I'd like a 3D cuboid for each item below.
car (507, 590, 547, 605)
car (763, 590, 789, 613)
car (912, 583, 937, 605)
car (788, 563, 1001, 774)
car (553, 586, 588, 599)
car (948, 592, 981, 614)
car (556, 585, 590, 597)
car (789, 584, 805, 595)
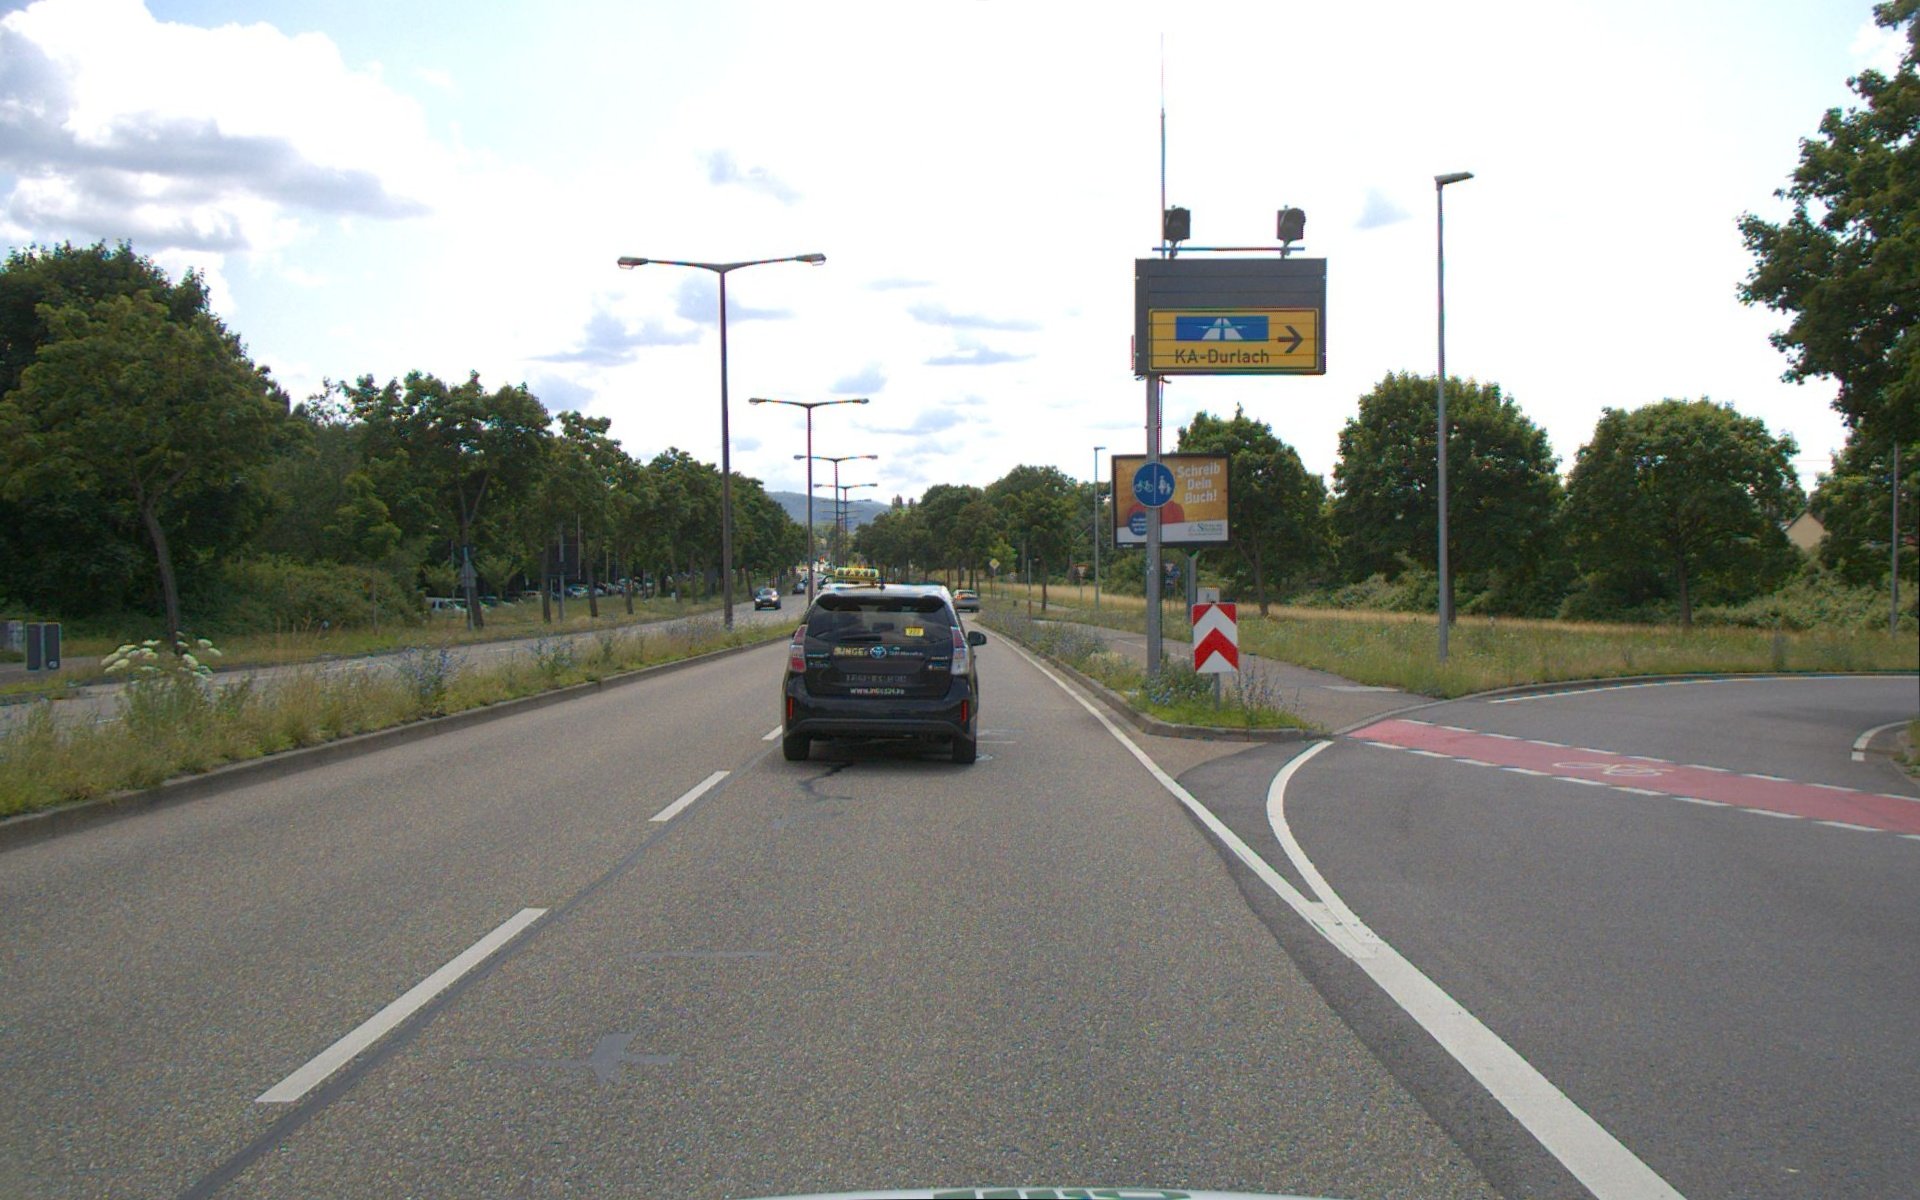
[{"bbox_3d":[-44.538,-0.255,170.330,3.710,1.453,1.784,1,1,-4],"label":"car"},{"bbox_3d":[-15.152,0.117,136.372,1.839,1.821,4.726,-2,0,-3],"label":"car"},{"bbox_3d":[-2.957,-0.481,136.899,1.954,1.691,3.998,1,1,-3],"label":"car"},{"bbox_3d":[-0.663,0.530,15.710,1.744,1.713,3.998,1,1,-4],"label":"car"},{"bbox_3d":[-45.498,-0.896,193.269,3.707,1.412,1.786,1,1,0],"label":"car"},{"bbox_3d":[0.323,0.235,124.907,1.956,1.534,3.994,1,1,-7],"label":"car"},{"bbox_3d":[-46.232,-1.070,197.618,3.707,1.412,1.786,1,1,0],"label":"car"},{"bbox_3d":[-20.516,-1.314,208.225,1.671,1.452,3.663,-1,0,-12],"label":"car"}]
